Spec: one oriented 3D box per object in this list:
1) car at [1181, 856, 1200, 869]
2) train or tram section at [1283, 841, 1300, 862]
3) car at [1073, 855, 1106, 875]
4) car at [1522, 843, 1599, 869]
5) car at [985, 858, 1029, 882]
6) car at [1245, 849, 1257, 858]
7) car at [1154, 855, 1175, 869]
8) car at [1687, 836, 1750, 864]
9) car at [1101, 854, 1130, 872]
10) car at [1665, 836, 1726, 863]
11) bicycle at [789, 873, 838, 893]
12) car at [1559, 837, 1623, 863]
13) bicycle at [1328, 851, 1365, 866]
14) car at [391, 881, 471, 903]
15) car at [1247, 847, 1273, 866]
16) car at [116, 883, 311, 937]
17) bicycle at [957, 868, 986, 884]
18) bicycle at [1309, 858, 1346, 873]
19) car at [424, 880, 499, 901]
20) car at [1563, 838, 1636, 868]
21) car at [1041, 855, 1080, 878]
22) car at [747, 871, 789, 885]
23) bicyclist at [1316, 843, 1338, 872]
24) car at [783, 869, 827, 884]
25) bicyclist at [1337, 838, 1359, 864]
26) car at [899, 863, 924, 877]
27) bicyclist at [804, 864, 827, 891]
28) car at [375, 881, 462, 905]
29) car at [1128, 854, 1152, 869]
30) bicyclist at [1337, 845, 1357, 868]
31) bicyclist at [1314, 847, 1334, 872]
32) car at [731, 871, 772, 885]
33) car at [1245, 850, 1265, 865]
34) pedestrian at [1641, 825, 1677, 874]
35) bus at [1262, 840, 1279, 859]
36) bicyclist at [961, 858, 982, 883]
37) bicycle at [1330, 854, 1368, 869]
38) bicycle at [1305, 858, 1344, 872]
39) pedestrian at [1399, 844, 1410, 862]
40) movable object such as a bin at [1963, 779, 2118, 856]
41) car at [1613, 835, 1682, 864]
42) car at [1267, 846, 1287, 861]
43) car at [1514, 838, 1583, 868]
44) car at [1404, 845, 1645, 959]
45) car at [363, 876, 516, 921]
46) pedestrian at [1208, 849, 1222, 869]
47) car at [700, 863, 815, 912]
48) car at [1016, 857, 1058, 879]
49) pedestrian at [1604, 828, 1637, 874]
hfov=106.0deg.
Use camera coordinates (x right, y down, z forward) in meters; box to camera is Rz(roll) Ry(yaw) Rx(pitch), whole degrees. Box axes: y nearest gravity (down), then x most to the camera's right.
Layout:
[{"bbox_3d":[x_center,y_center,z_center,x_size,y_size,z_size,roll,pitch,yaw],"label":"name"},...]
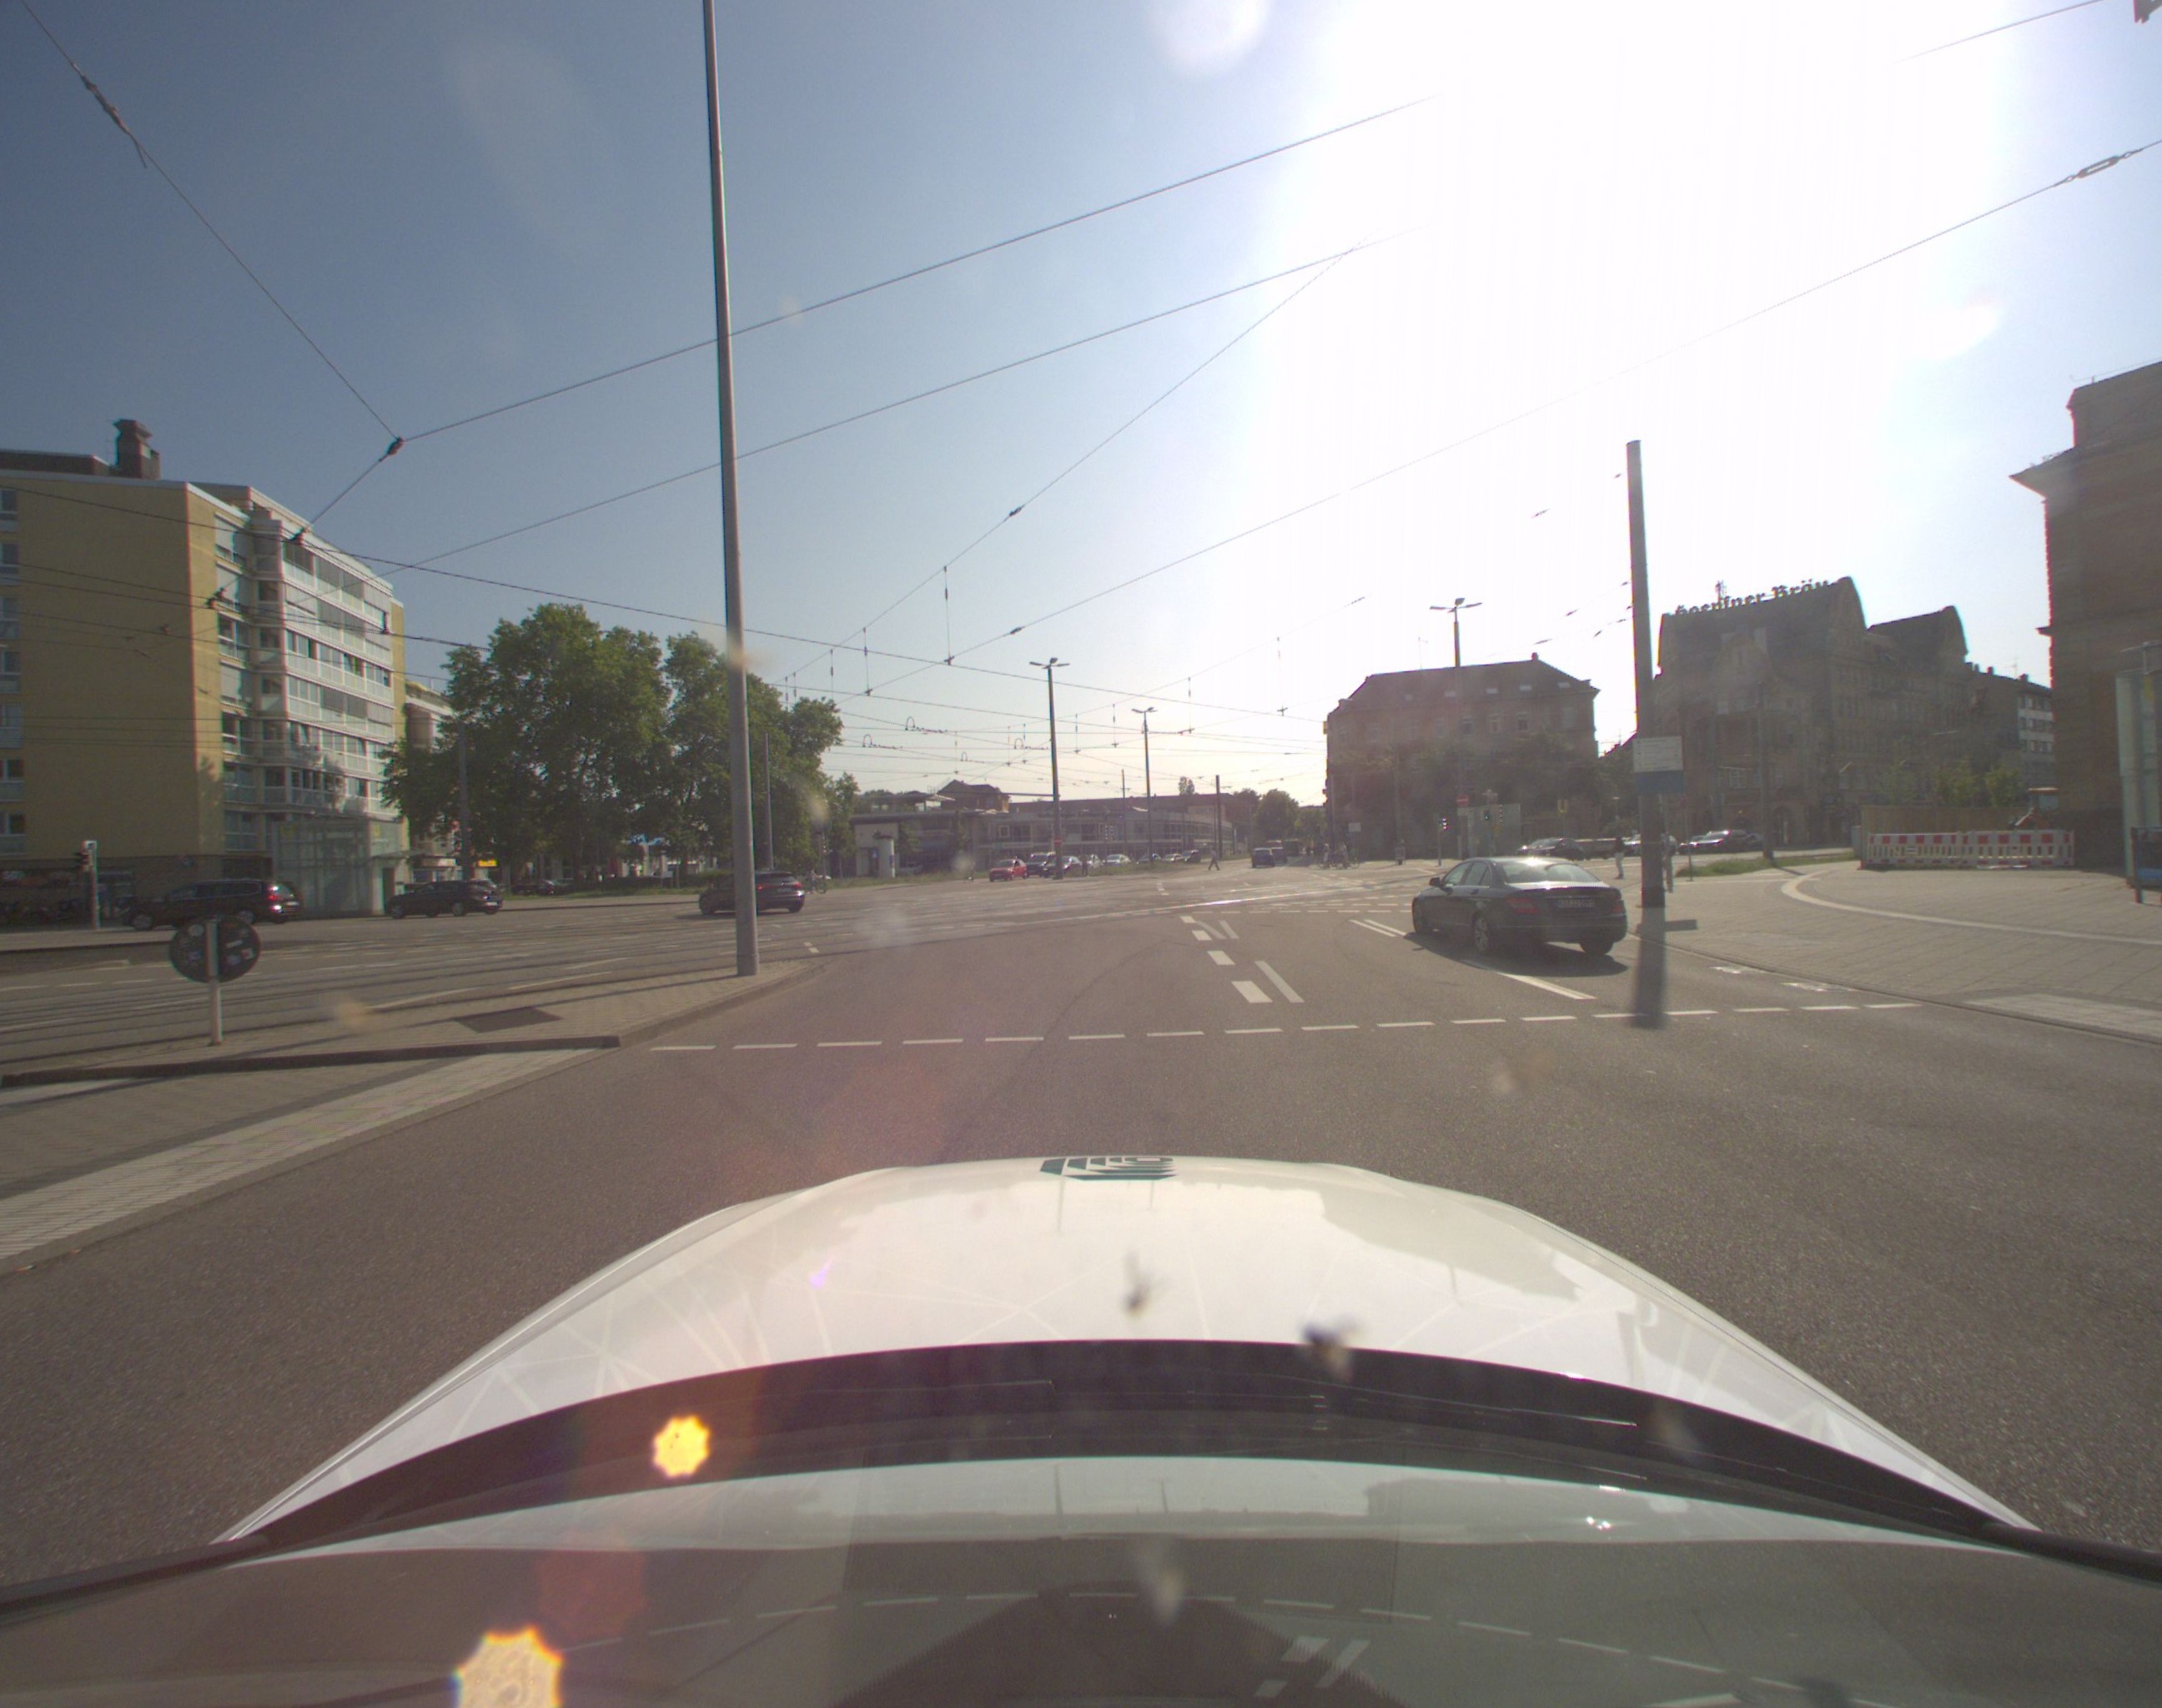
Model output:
[{"bbox_3d":[13.725,1.088,102.182,1.601,1.475,4.018,-4,-1,17],"label":"car"},{"bbox_3d":[38.507,-0.513,148.958,2.635,3.699,10.631,-3,0,14],"label":"train or tram section"},{"bbox_3d":[0.730,0.848,65.885,1.602,1.475,4.017,-4,-1,16],"label":"car"},{"bbox_3d":[29.096,0.103,49.403,4.397,1.397,2.006,-2,-1,-27],"label":"car"},{"bbox_3d":[-5.124,1.089,57.070,1.602,1.475,4.017,-4,-1,16],"label":"car"},{"bbox_3d":[29.604,-0.158,141.673,1.601,1.475,4.018,-4,-1,17],"label":"car"},{"bbox_3d":[9.917,0.907,96.694,1.601,1.475,4.018,-4,-1,17],"label":"car"},{"bbox_3d":[44.337,-0.278,56.644,4.077,1.859,1.894,-2,-1,-27],"label":"car"},{"bbox_3d":[3.124,0.804,73.002,1.601,1.475,4.018,-4,-1,17],"label":"car"},{"bbox_3d":[45.732,-0.357,60.593,4.260,1.859,1.893,-2,-1,-27],"label":"car"},{"bbox_3d":[-15.814,1.718,48.227,2.602,1.057,0.956,-2,0,-13],"label":"bicycle"},{"bbox_3d":[39.421,-0.305,62.964,4.272,1.859,1.919,-2,-1,-19],"label":"car"},{"bbox_3d":[18.333,0.313,56.152,2.639,0.964,1.081,-2,0,-36],"label":"bicycle"},{"bbox_3d":[-46.620,2.705,58.501,4.168,1.354,1.568,-2,-1,-18],"label":"car"},{"bbox_3d":[14.789,0.194,67.053,1.812,1.428,4.430,-3,0,15],"label":"car"},{"bbox_3d":[-31.961,2.016,30.186,4.541,1.678,1.991,-2,-1,-14],"label":"car"},{"bbox_3d":[-7.709,1.522,57.332,0.950,1.057,2.620,-2,0,17],"label":"bicycle"},{"bbox_3d":[17.526,0.810,57.886,2.639,0.964,1.081,-2,0,-36],"label":"bicycle"},{"bbox_3d":[-46.557,2.713,61.263,4.168,1.354,1.568,-2,-1,-18],"label":"car"},{"bbox_3d":[35.390,-0.057,55.557,4.717,1.859,1.894,-2,-1,-25],"label":"car"},{"bbox_3d":[-1.447,0.870,59.213,1.602,1.475,4.017,-4,-1,16],"label":"car"},{"bbox_3d":[-37.464,2.834,97.615,1.683,1.522,4.544,-2,0,32],"label":"car"},{"bbox_3d":[17.467,0.267,57.867,0.941,2.024,1.081,-2,0,-36],"label":"bicyclist"},{"bbox_3d":[-29.411,2.387,86.818,4.065,1.522,1.708,-2,-1,6],"label":"car"},{"bbox_3d":[18.426,-0.203,56.244,0.941,1.708,1.081,-2,0,-36],"label":"bicyclist"},{"bbox_3d":[-20.057,1.891,96.462,1.691,1.522,4.105,-2,0,5],"label":"car"},{"bbox_3d":[-15.730,1.381,48.256,1.164,1.527,0.956,0,-1,-13],"label":"bicyclist"},{"bbox_3d":[-43.959,2.587,54.128,4.168,1.354,1.568,-2,-1,-18],"label":"car"},{"bbox_3d":[6.528,0.811,89.643,1.601,1.475,4.018,-4,-1,17],"label":"car"},{"bbox_3d":[20.110,0.211,61.624,0.938,1.680,1.085,-2,0,-23],"label":"bicyclist"},{"bbox_3d":[17.938,0.384,60.152,0.938,1.800,1.085,-2,0,-23],"label":"bicyclist"},{"bbox_3d":[-40.551,2.939,100.255,1.683,1.522,4.544,-2,0,32],"label":"car"},{"bbox_3d":[20.018,0.411,93.600,1.811,1.535,4.432,-3,0,17],"label":"car"},{"bbox_3d":[20.613,-0.158,29.032,0.911,1.690,0.931,-2,-1,41],"label":"pedestrian"},{"bbox_3d":[38.082,-0.824,164.217,2.901,3.619,16.802,-2,0,12],"label":"bus"},{"bbox_3d":[-7.711,1.166,57.361,0.950,1.748,1.171,-2,-1,17],"label":"bicyclist"},{"bbox_3d":[20.300,0.572,61.705,2.630,0.964,1.085,-2,0,-23],"label":"bicycle"},{"bbox_3d":[17.967,0.805,60.158,2.630,0.964,1.085,-2,0,-23],"label":"bicycle"},{"bbox_3d":[26.172,-0.081,65.791,0.672,1.471,0.540,-2,-1,-43],"label":"pedestrian"},{"bbox_3d":[34.745,-1.301,29.409,8.007,2.442,2.428,-2,0,-32],"label":"movable object such as a bin"},{"bbox_3d":[40.088,-0.327,57.612,4.675,1.859,2.027,-2,-1,-27],"label":"car"},{"bbox_3d":[20.431,-0.108,84.619,1.812,1.428,4.431,-3,0,16],"label":"car"},{"bbox_3d":[30.775,-0.058,53.620,4.260,1.859,1.893,-2,-1,-27],"label":"car"},{"bbox_3d":[6.682,0.630,12.891,1.675,1.442,4.378,-2,0,4],"label":"car"},{"bbox_3d":[-25.094,1.708,32.010,4.364,1.492,1.680,-2,0,-14],"label":"car"},{"bbox_3d":[10.148,0.400,61.698,0.780,1.503,0.705,-2,0,-21],"label":"pedestrian"},{"bbox_3d":[-10.837,1.104,27.122,4.493,1.435,1.849,-2,-1,44],"label":"car"},{"bbox_3d":[-3.421,1.075,64.273,1.945,1.475,4.017,-4,-1,16],"label":"car"},{"bbox_3d":[20.283,-0.106,30.593,0.910,1.690,0.843,-2,-1,38],"label":"pedestrian"}]
